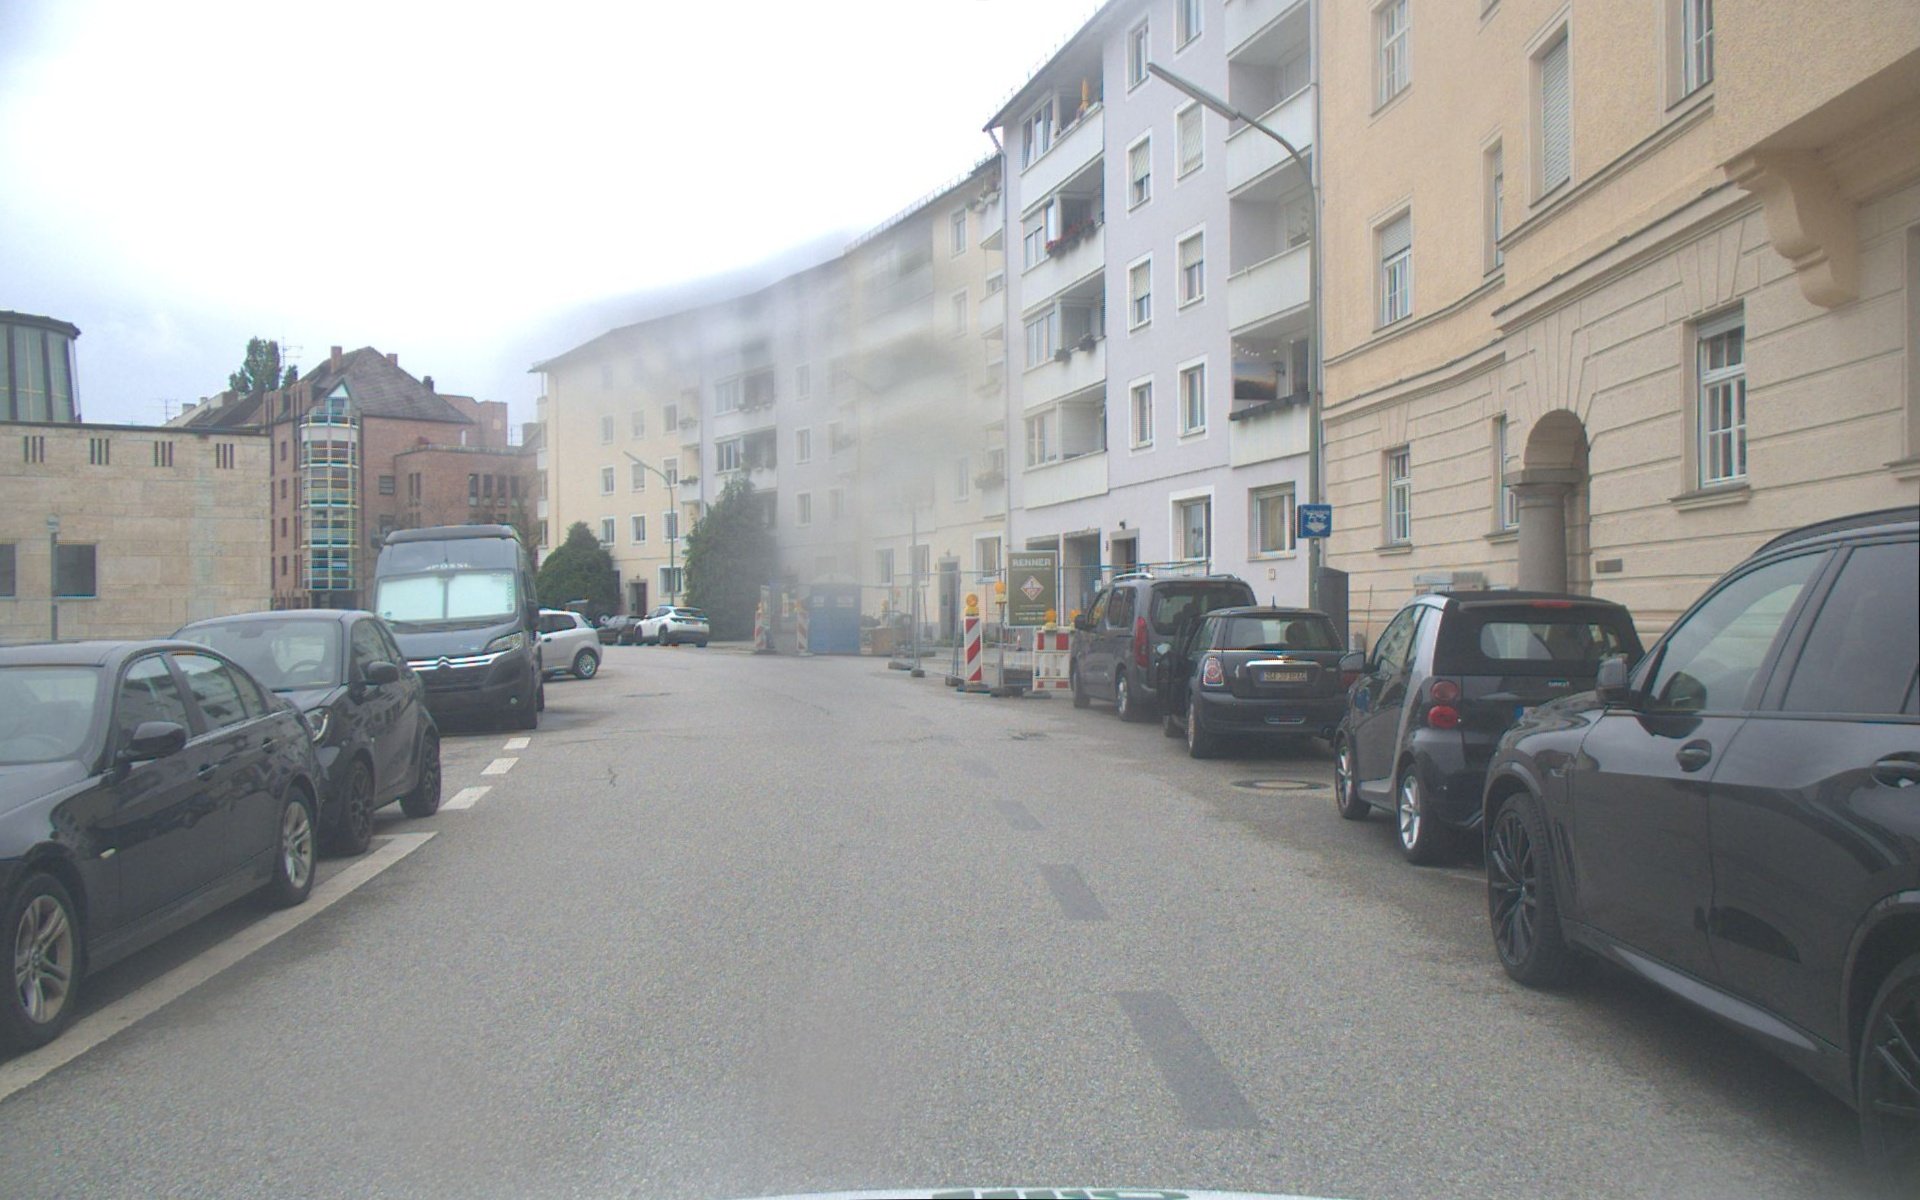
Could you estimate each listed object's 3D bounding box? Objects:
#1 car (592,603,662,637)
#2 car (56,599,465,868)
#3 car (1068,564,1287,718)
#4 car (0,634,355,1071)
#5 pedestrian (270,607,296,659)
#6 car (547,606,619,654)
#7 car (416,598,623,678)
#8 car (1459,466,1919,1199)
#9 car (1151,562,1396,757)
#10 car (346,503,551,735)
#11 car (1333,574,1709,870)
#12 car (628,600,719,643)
[{"bbox_3d":[-14.450,0.890,71.664,1.645,1.373,3.756,1,-2,-35],"label":"car"},{"bbox_3d":[-4.547,0.794,11.181,1.634,1.485,2.865,-3,0,-4],"label":"car"},{"bbox_3d":[2.768,0.513,22.027,1.802,1.830,4.230,1,-1,-8],"label":"car"},{"bbox_3d":[-4.086,0.906,6.895,1.687,1.387,4.210,-3,0,-3],"label":"car"},{"bbox_3d":[-23.322,1.144,56.975,0.783,1.770,0.814,1,-1,-24],"label":"pedestrian"},{"bbox_3d":[-17.251,1.344,75.479,1.732,2.118,4.463,1,-1,-33],"label":"car"},{"bbox_3d":[-9.182,0.786,34.714,1.644,1.557,3.962,0,-1,40],"label":"car"},{"bbox_3d":[3.137,0.570,4.910,1.888,1.760,4.687,1,1,0],"label":"car"},{"bbox_3d":[3.088,0.564,17.011,1.799,1.760,3.730,1,-1,0],"label":"car"},{"bbox_3d":[-6.692,0.222,22.299,2.107,2.619,6.190,-2,0,-13],"label":"car"},{"bbox_3d":[3.386,0.678,10.462,1.476,1.584,2.863,1,-1,2],"label":"car"},{"bbox_3d":[-11.741,0.862,67.535,2.008,1.707,4.558,1,-1,-34],"label":"car"}]
